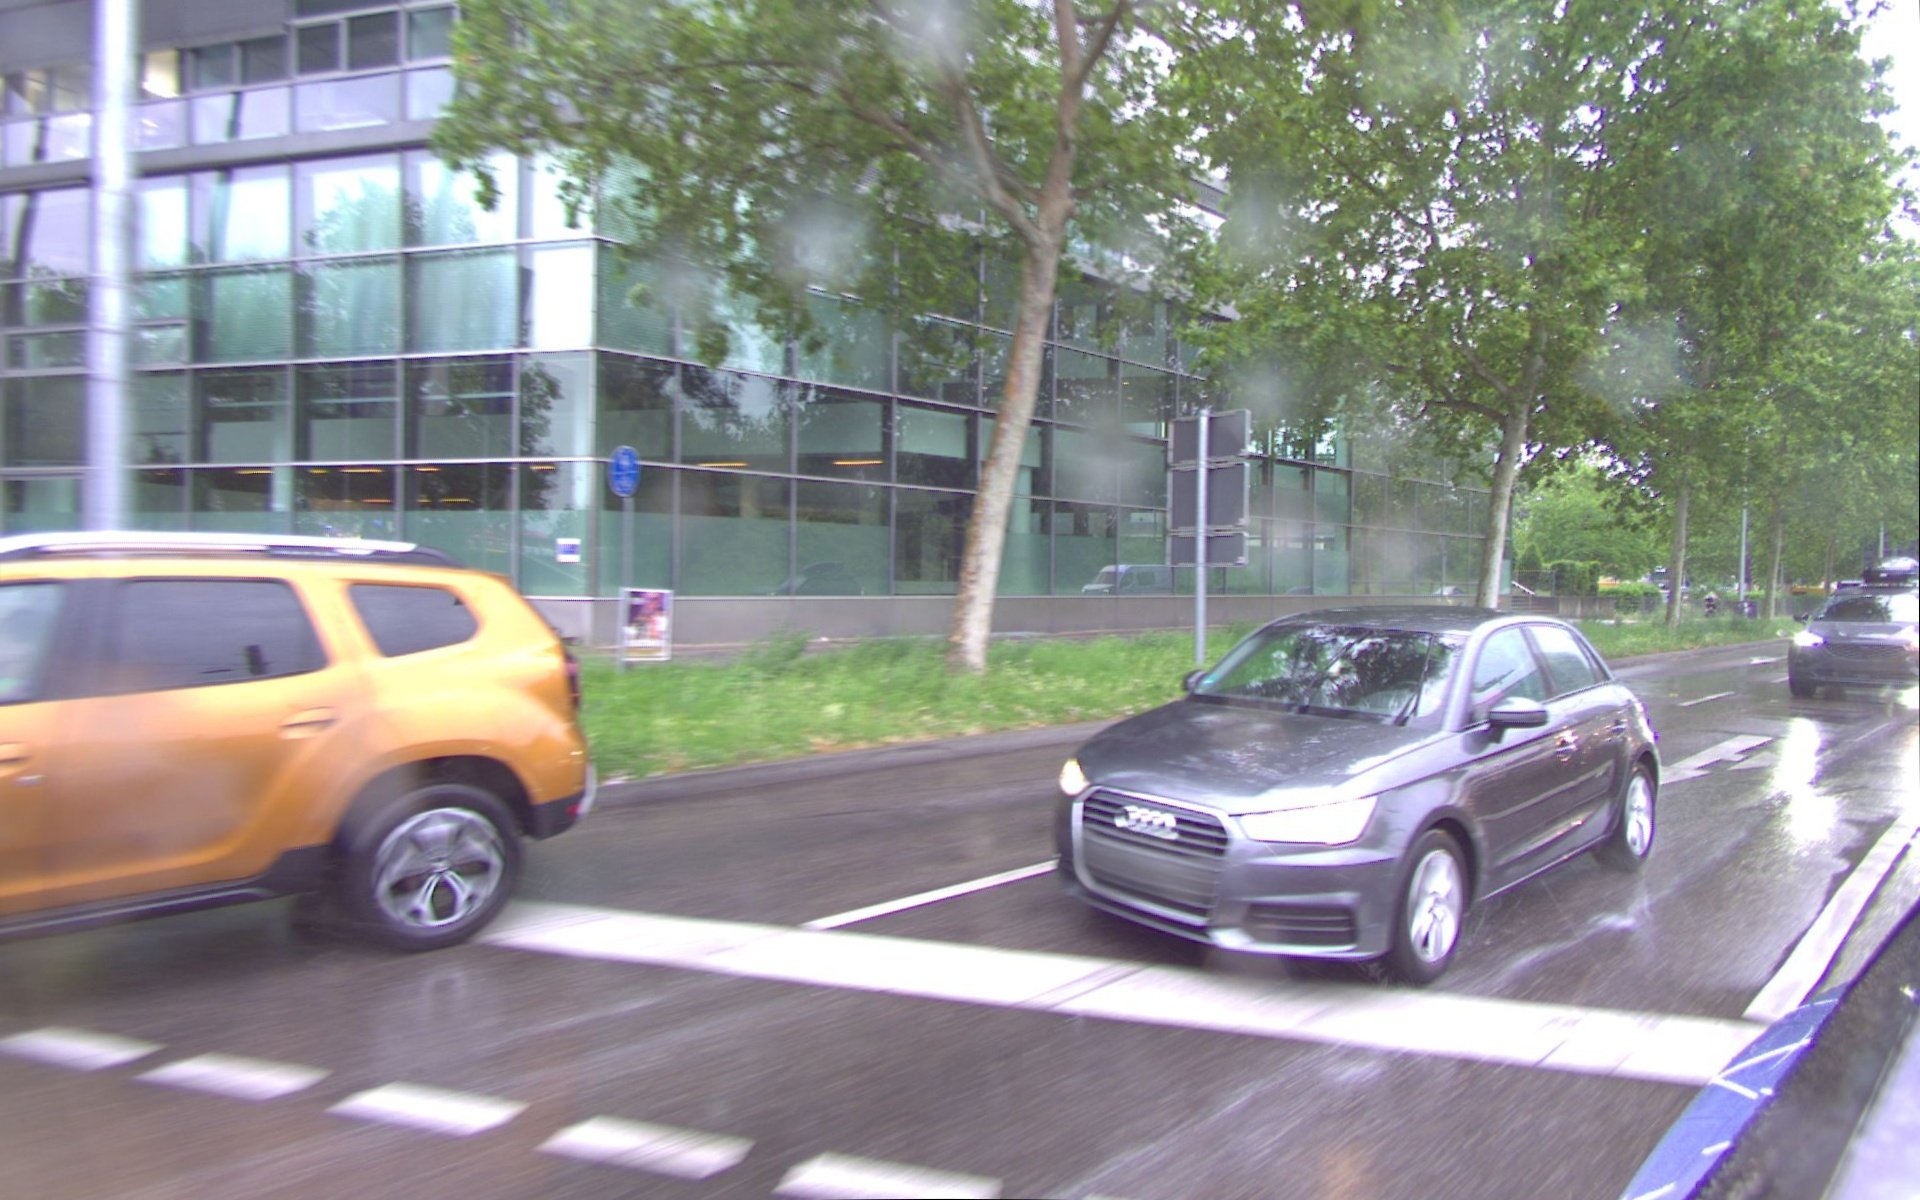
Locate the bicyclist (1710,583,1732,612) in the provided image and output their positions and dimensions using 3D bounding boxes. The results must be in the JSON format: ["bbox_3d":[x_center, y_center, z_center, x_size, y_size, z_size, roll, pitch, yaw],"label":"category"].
[{"bbox_3d":[42.256,-0.150,56.203,0.740,1.533,0.806,-1,4,-44],"label":"bicyclist"}]

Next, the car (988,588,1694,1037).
[{"bbox_3d":[2.106,0.653,5.117,3.688,1.416,1.839,0,0,-41],"label":"car"}]

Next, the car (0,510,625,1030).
[{"bbox_3d":[-3.668,0.521,3.931,4.097,1.652,1.903,0,1,-41],"label":"car"}]

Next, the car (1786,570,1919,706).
[{"bbox_3d":[13.955,0.475,14.968,4.252,1.769,1.997,0,2,-41],"label":"car"}]

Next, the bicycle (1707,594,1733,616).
[{"bbox_3d":[42.248,0.258,56.246,2.042,1.118,0.744,-1,4,-44],"label":"bicycle"}]

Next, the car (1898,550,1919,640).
[{"bbox_3d":[28.483,-0.138,28.866,4.891,2.460,1.997,0,2,-41],"label":"car"}]
